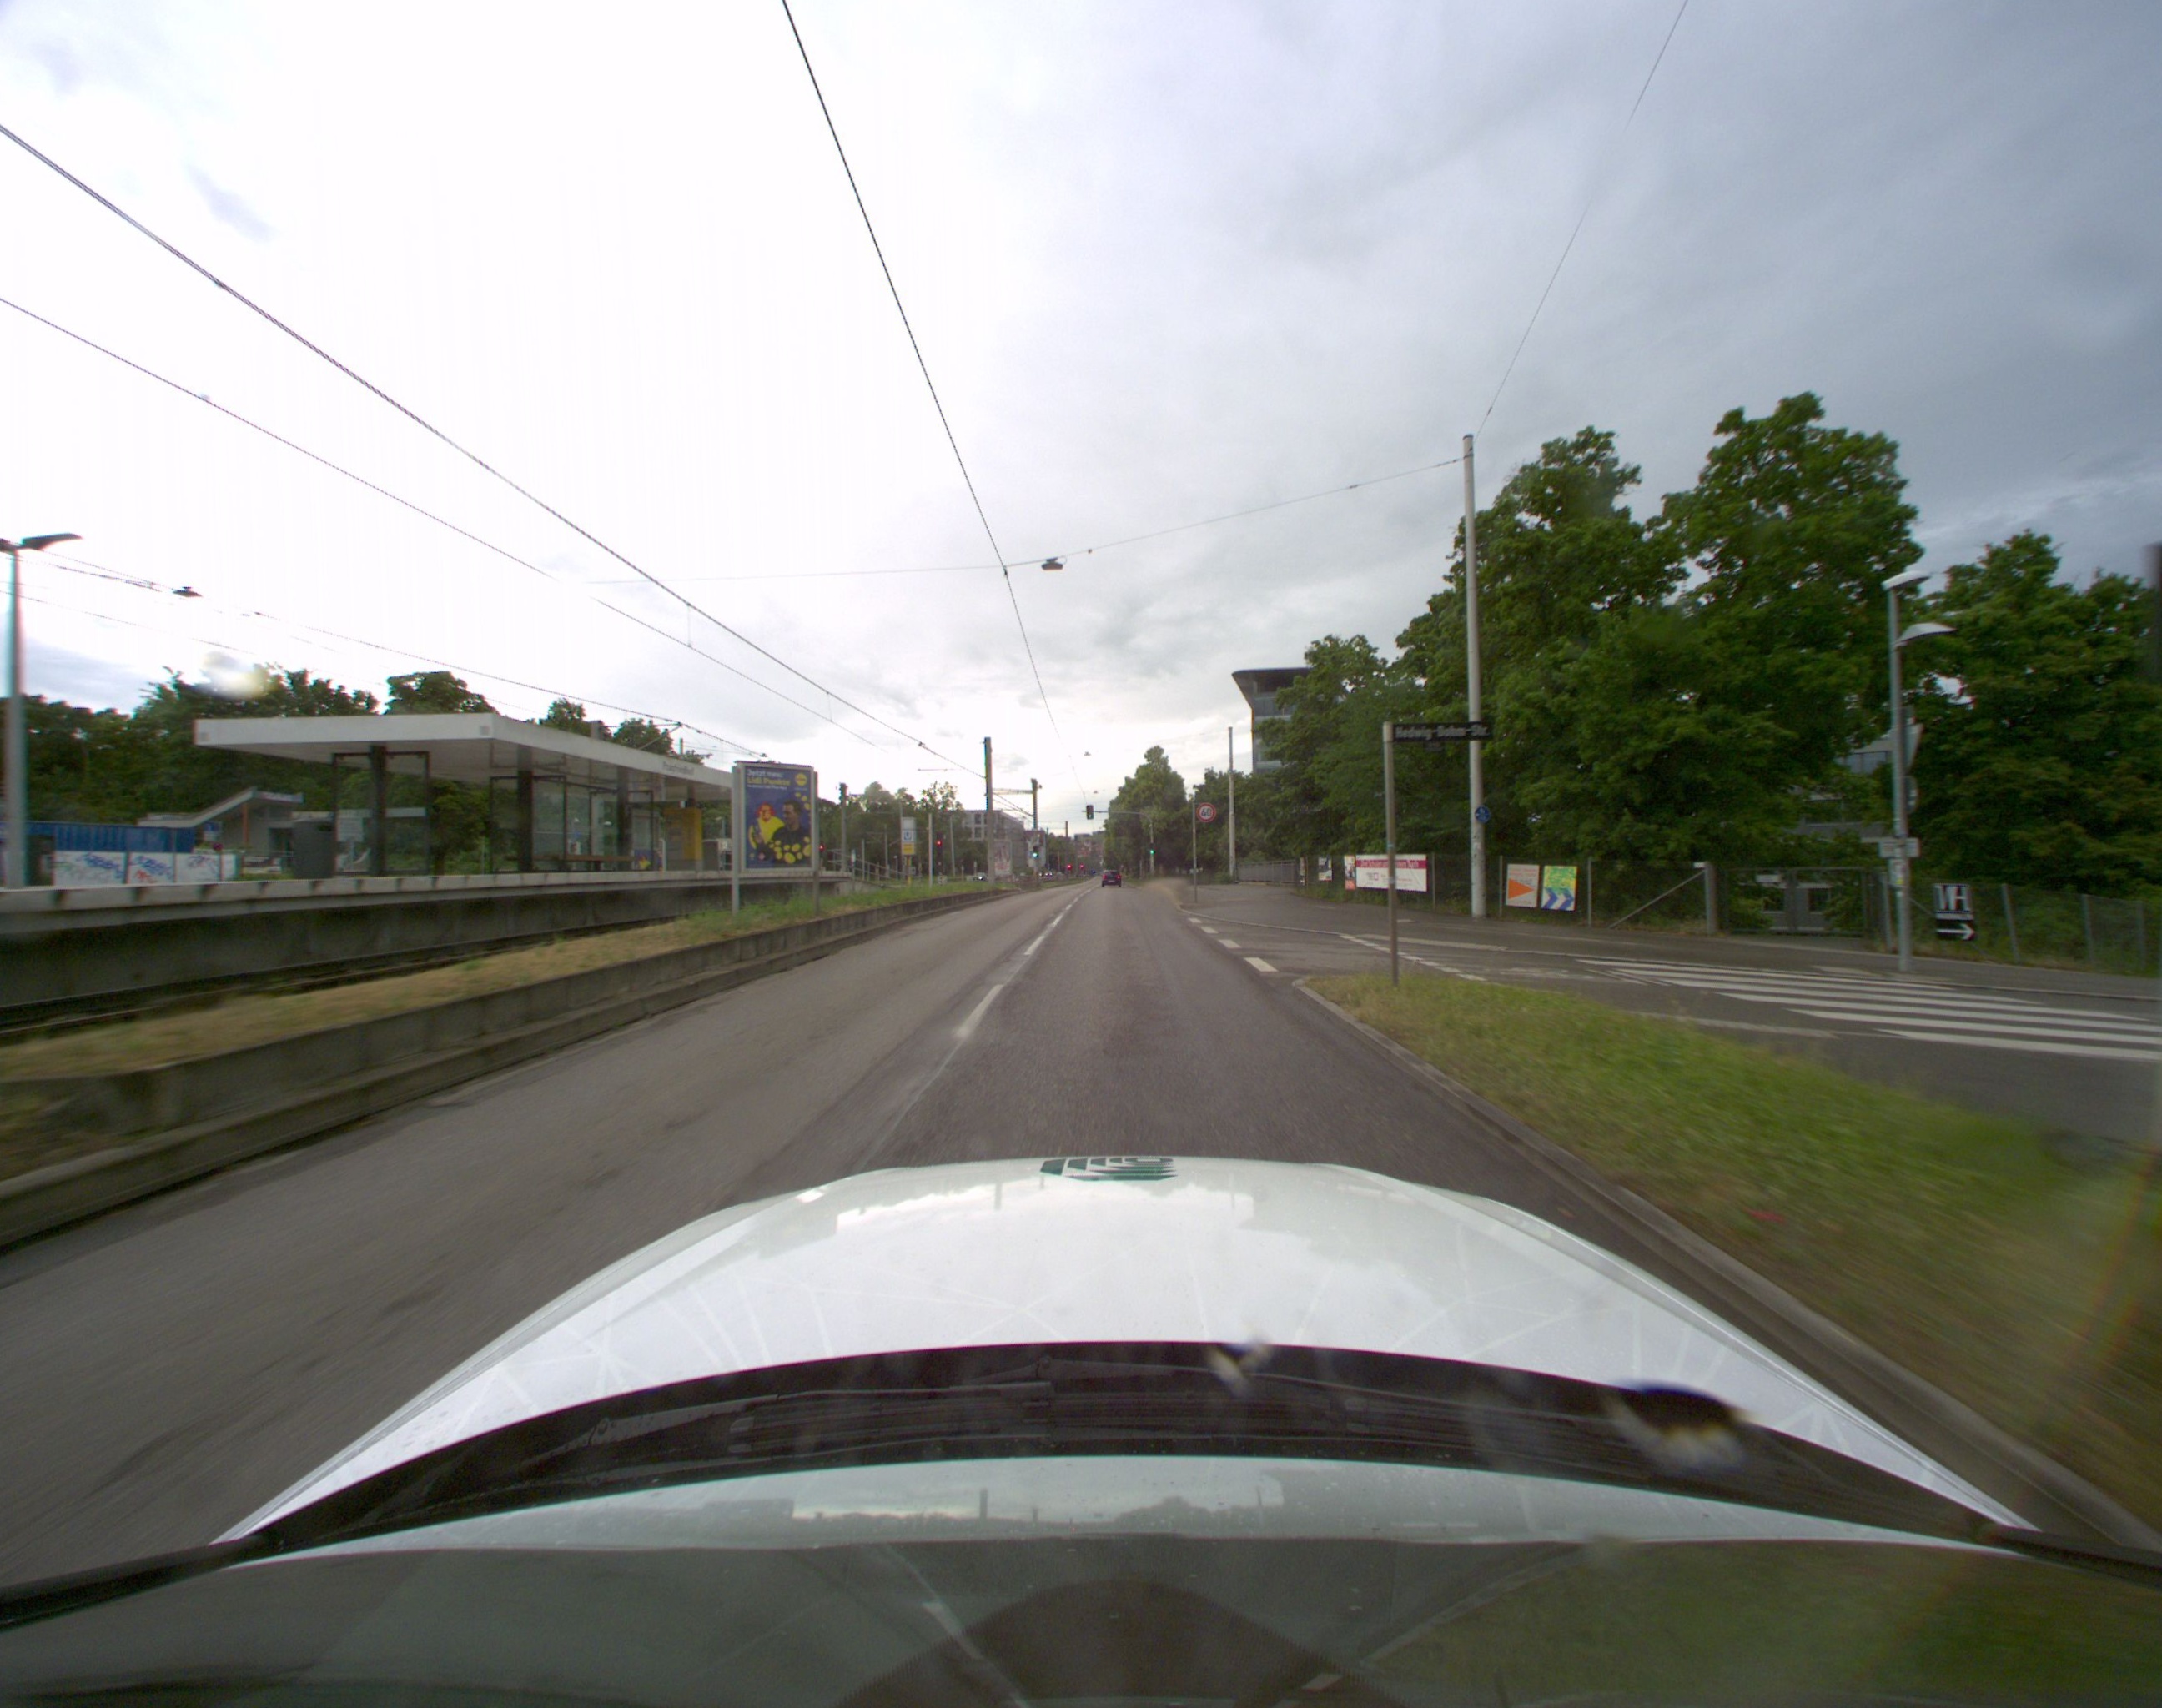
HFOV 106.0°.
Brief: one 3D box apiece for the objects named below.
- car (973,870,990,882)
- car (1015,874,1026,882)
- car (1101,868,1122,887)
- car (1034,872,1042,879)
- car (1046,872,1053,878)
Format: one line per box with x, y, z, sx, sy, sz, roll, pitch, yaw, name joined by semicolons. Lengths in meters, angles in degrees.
-14.570;3.199;119.057;1.658;1.632;3.309;2;1;6;car
-14.911;5.850;200.467;1.840;1.632;3.616;2;1;6;car
2.568;1.972;69.852;1.720;1.540;4.001;1;0;1;car
-12.235;6.146;231.306;1.840;1.632;3.616;2;1;6;car
-9.903;6.697;258.830;1.644;1.632;3.616;2;1;7;car
